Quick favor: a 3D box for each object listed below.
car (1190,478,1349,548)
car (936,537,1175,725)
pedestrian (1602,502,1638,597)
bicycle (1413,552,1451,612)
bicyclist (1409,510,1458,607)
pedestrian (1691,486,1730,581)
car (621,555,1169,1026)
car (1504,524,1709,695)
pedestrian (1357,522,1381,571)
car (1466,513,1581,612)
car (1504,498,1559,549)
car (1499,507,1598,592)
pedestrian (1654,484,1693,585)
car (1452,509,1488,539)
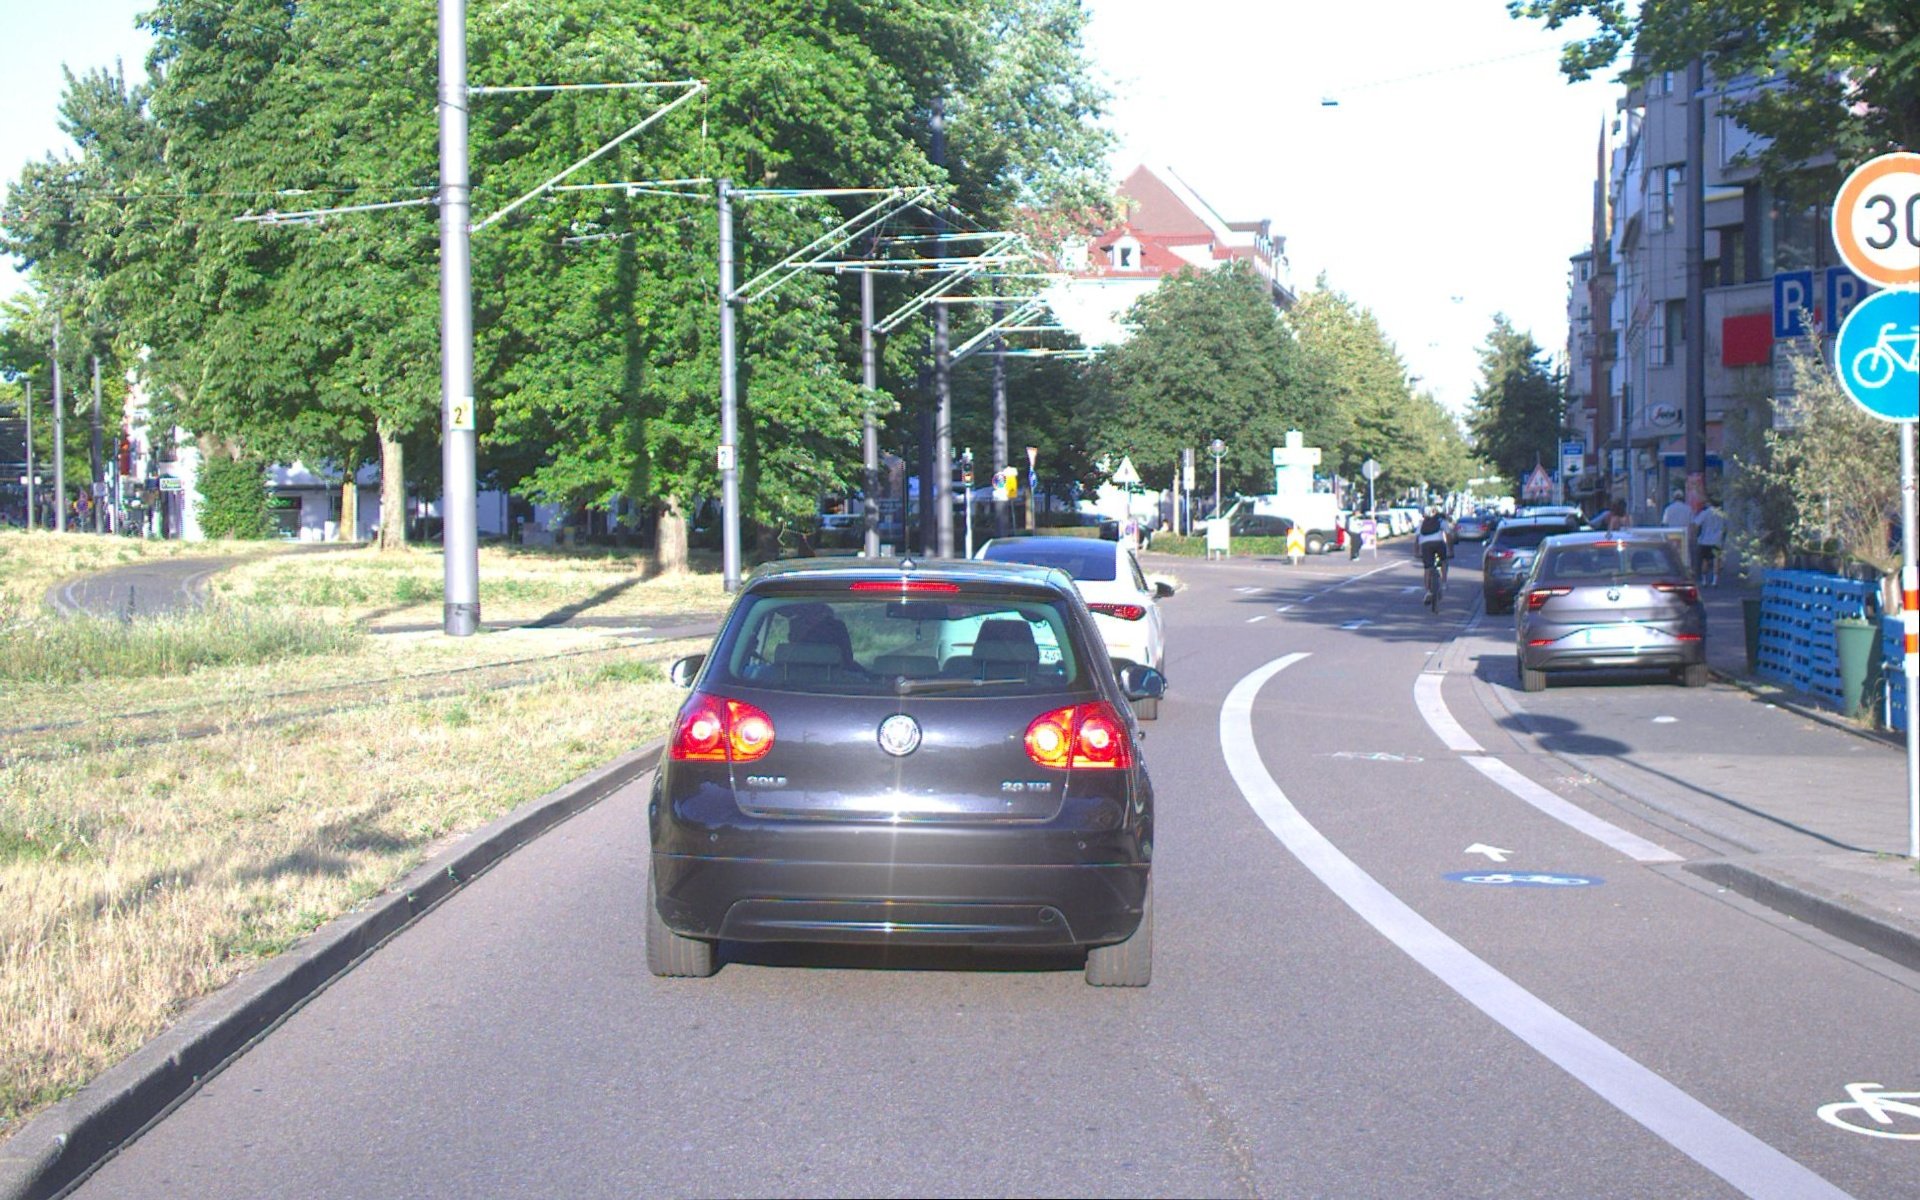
[{"bbox_3d":[11.615,-3.257,129.099,5.510,2.586,2.155,0,1,-17],"label":"car"},{"bbox_3d":[0.820,0.207,29.017,1.865,1.436,4.197,0,1,2],"label":"car"},{"bbox_3d":[12.419,-0.951,64.721,0.579,1.754,0.661,-3,1,11],"label":"pedestrian"},{"bbox_3d":[8.000,-0.310,58.176,0.579,0.984,1.935,1,1,9],"label":"bicycle"},{"bbox_3d":[8.020,-0.705,58.217,0.777,1.613,1.025,1,1,9],"label":"bicyclist"},{"bbox_3d":[14.023,-1.238,64.238,0.622,1.734,0.661,-3,1,11],"label":"pedestrian"},{"bbox_3d":[-0.159,0.583,13.032,1.747,1.456,4.103,0,1,1],"label":"car"},{"bbox_3d":[6.155,0.050,33.046,1.728,1.467,3.898,-3,1,8],"label":"car"},{"bbox_3d":[13.017,-1.701,109.446,0.736,1.549,0.632,0,1,6],"label":"pedestrian"},{"bbox_3d":[9.567,-0.660,58.221,1.782,1.551,4.233,-2,1,10],"label":"car"},{"bbox_3d":[21.312,-2.845,128.105,1.926,1.835,4.016,-2,1,10],"label":"car"},{"bbox_3d":[12.714,-1.118,74.500,1.868,1.708,4.504,-3,1,7],"label":"car"},{"bbox_3d":[13.367,-1.236,64.396,0.622,1.851,0.661,-3,1,11],"label":"pedestrian"},{"bbox_3d":[27.053,-4.049,182.312,1.907,1.546,3.999,0,2,9],"label":"car"}]
